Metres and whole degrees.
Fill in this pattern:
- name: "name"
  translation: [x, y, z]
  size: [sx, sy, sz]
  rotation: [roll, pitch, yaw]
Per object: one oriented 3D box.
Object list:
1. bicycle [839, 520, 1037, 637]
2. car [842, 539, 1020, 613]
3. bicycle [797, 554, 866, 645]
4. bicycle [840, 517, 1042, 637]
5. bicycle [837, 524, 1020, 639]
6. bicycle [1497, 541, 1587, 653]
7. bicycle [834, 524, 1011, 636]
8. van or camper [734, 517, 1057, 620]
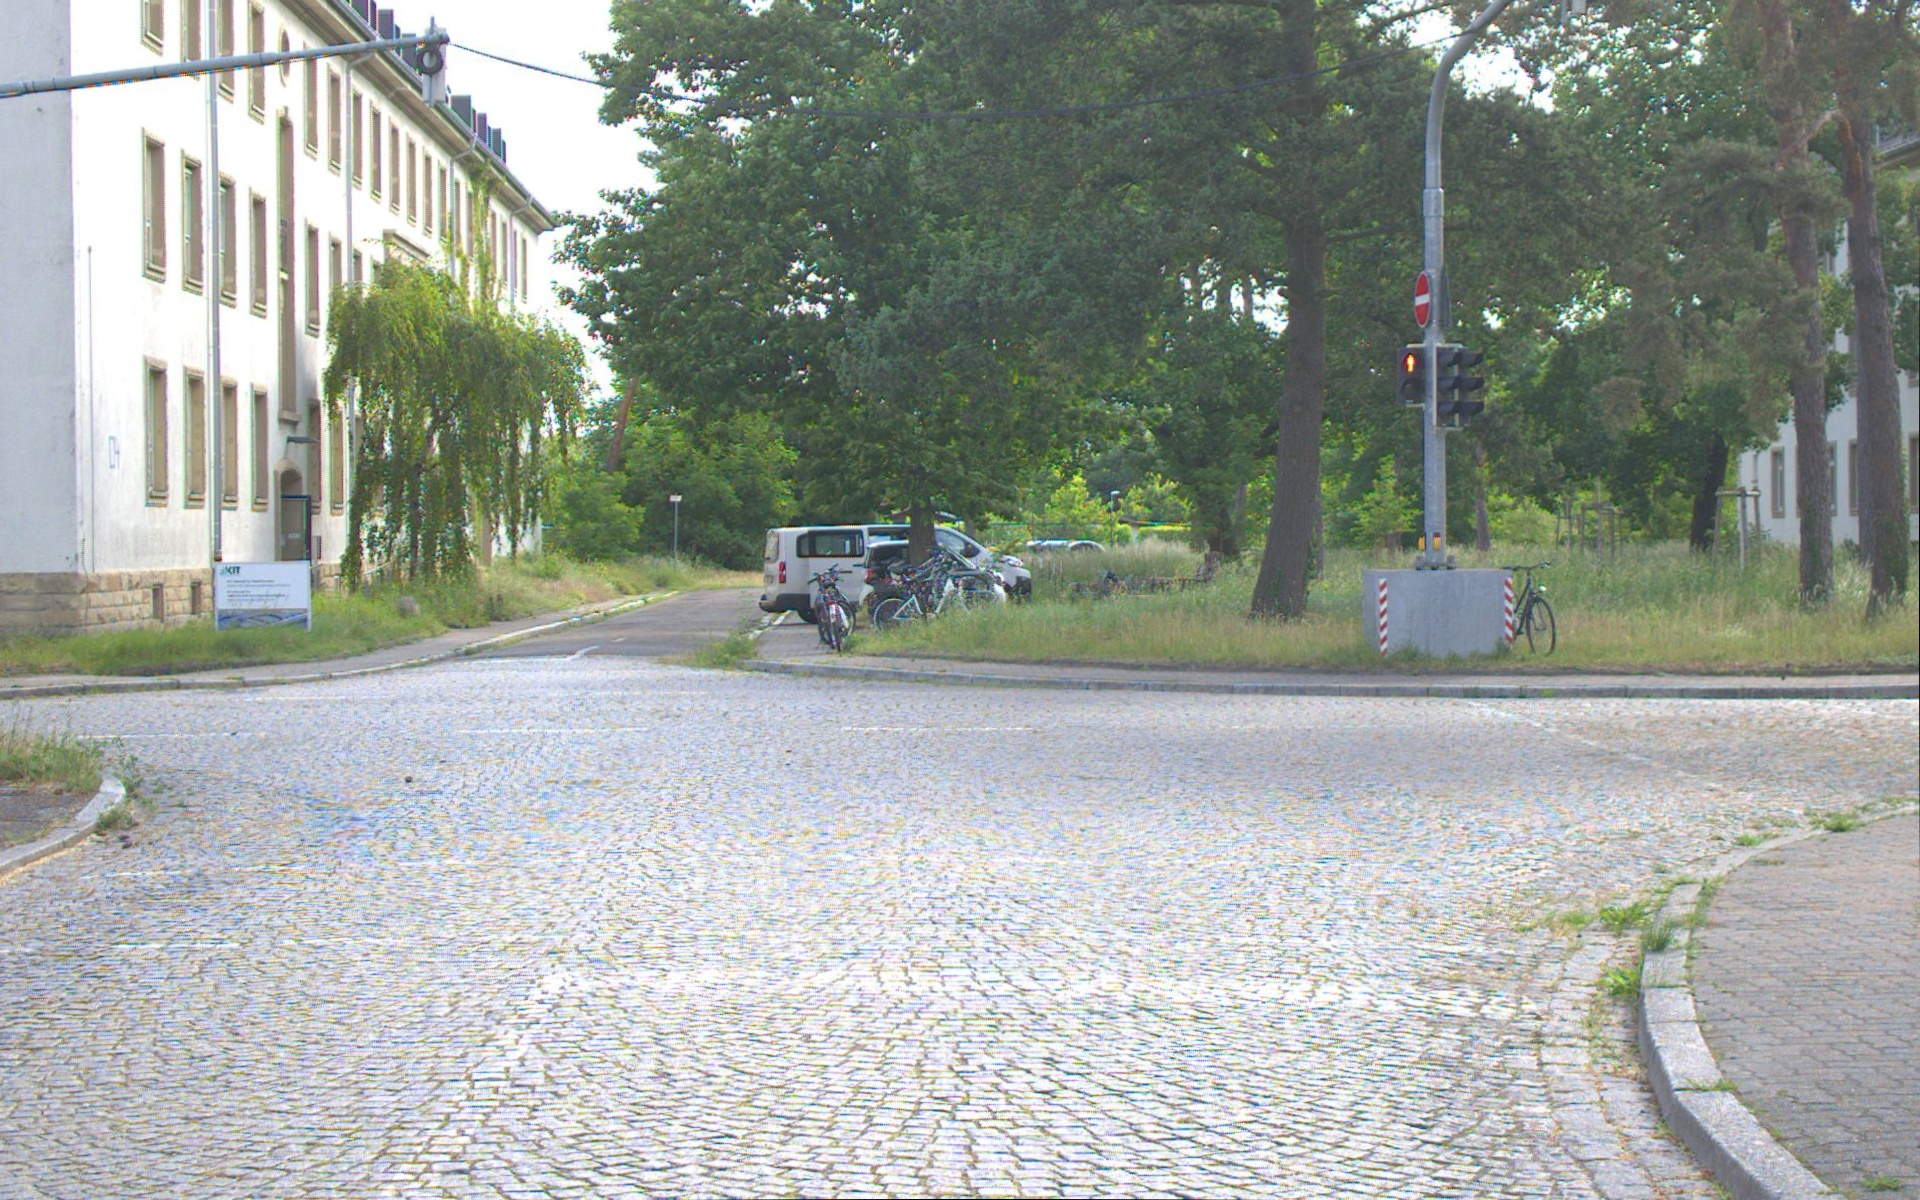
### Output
- name: "bicycle"
  translation: [-0.339, -0.327, 50.579]
  size: [2.775, 1.688, 1.120]
  rotation: [0, 1, -8]
- name: "car"
  translation: [-0.552, -0.453, 63.777]
  size: [3.137, 1.349, 1.620]
  rotation: [0, 1, -7]
- name: "bicycle"
  translation: [-1.676, -0.018, 45.086]
  size: [0.725, 1.104, 2.462]
  rotation: [-5, 1, 0]
- name: "bicycle"
  translation: [-0.283, -0.333, 49.385]
  size: [2.775, 1.688, 1.120]
  rotation: [0, 1, -7]
- name: "bicycle"
  translation: [-0.483, -0.294, 54.144]
  size: [2.776, 1.688, 1.120]
  rotation: [2, 1, 3]
- name: "bicycle"
  translation: [6.362, -0.043, 37.695]
  size: [0.724, 1.165, 2.736]
  rotation: [2, 1, 5]
- name: "bicycle"
  translation: [-0.600, -0.331, 55.480]
  size: [2.775, 1.688, 1.120]
  rotation: [2, 1, 0]
- name: "van or camper"
  translation: [-1.271, -0.632, 67.341]
  size: [6.030, 1.942, 2.001]
  rotation: [-1, 1, -15]
